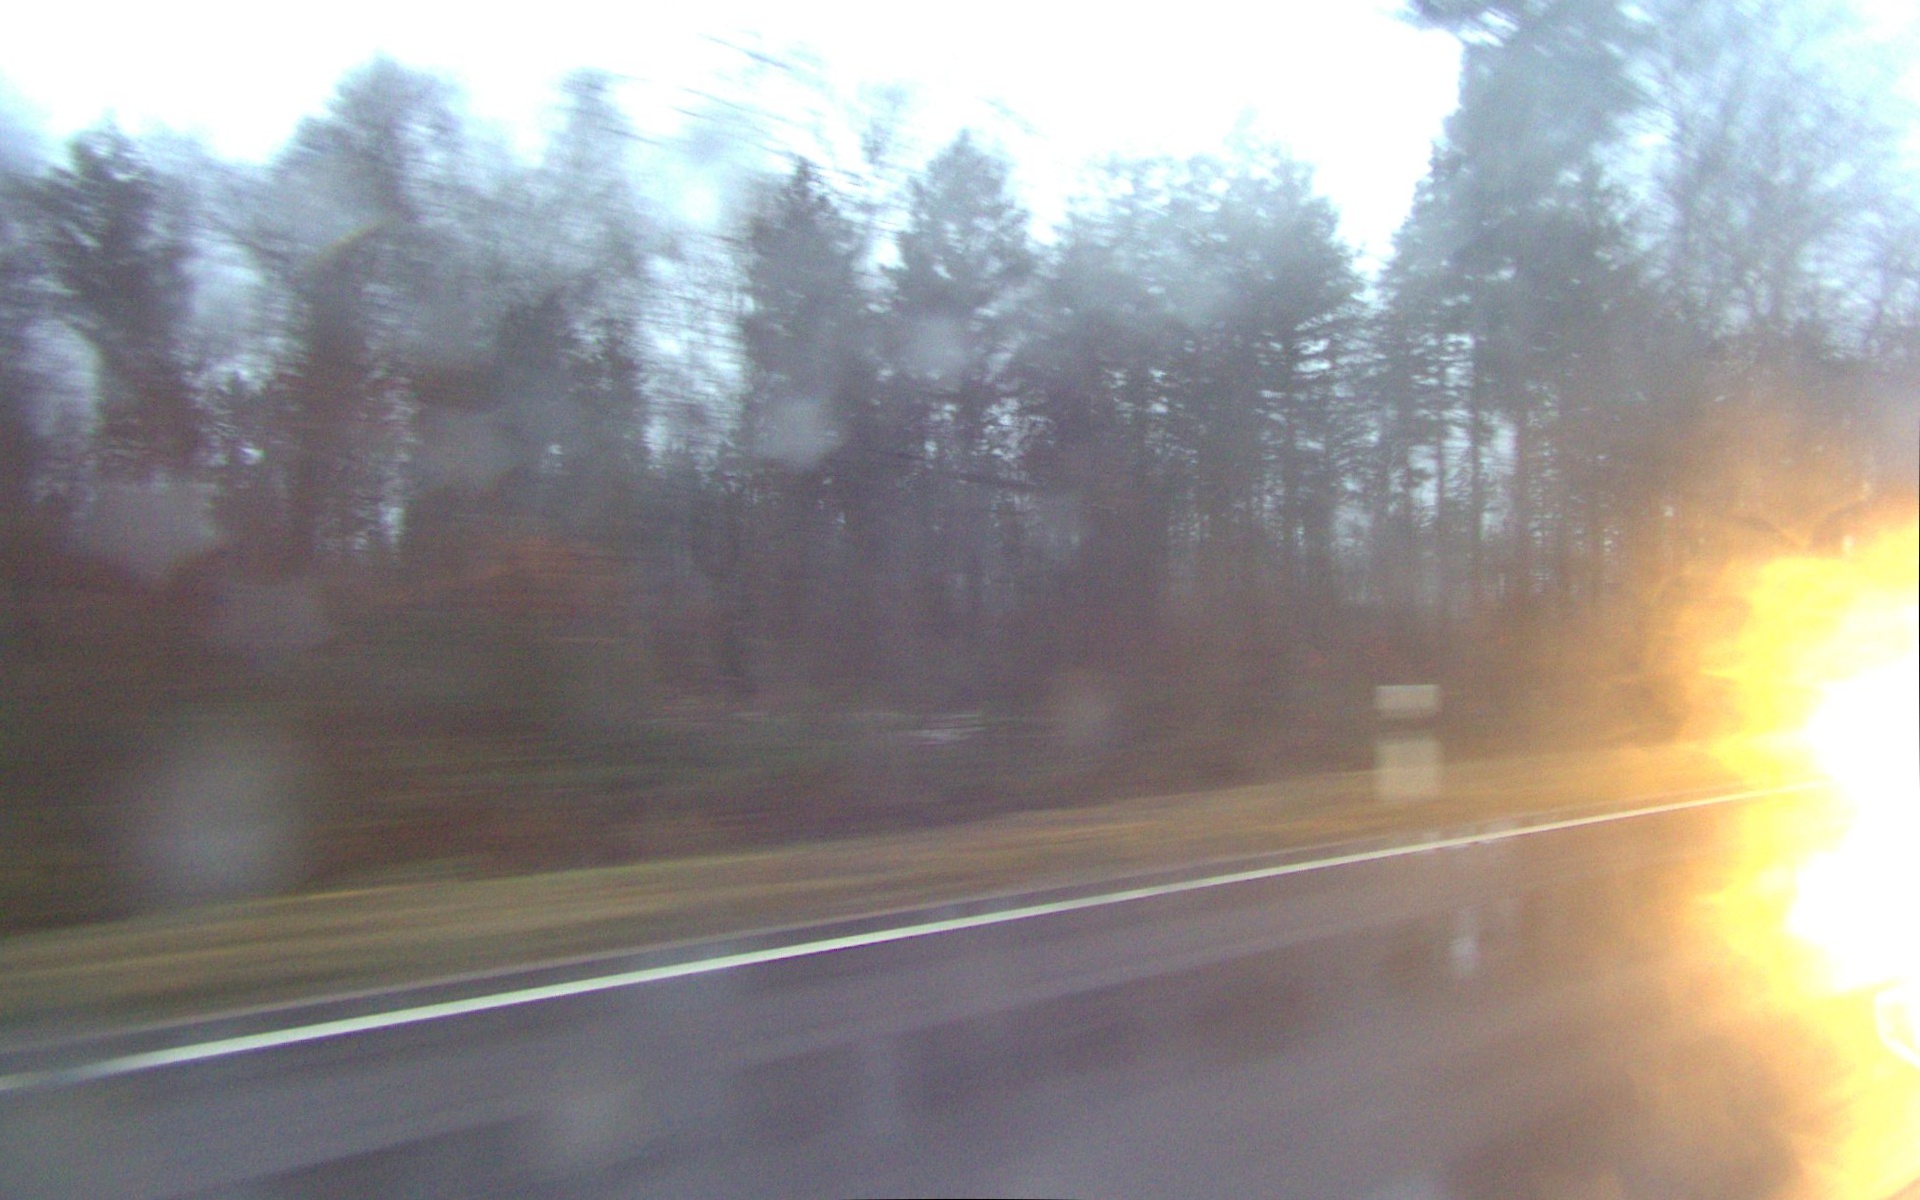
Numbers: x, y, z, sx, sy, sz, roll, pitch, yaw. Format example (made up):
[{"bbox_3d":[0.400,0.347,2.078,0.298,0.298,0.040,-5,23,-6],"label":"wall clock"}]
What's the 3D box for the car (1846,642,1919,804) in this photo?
[{"bbox_3d":[10.191,1.114,9.593,3.617,1.432,1.507,1,-3,-30],"label":"car"}]
